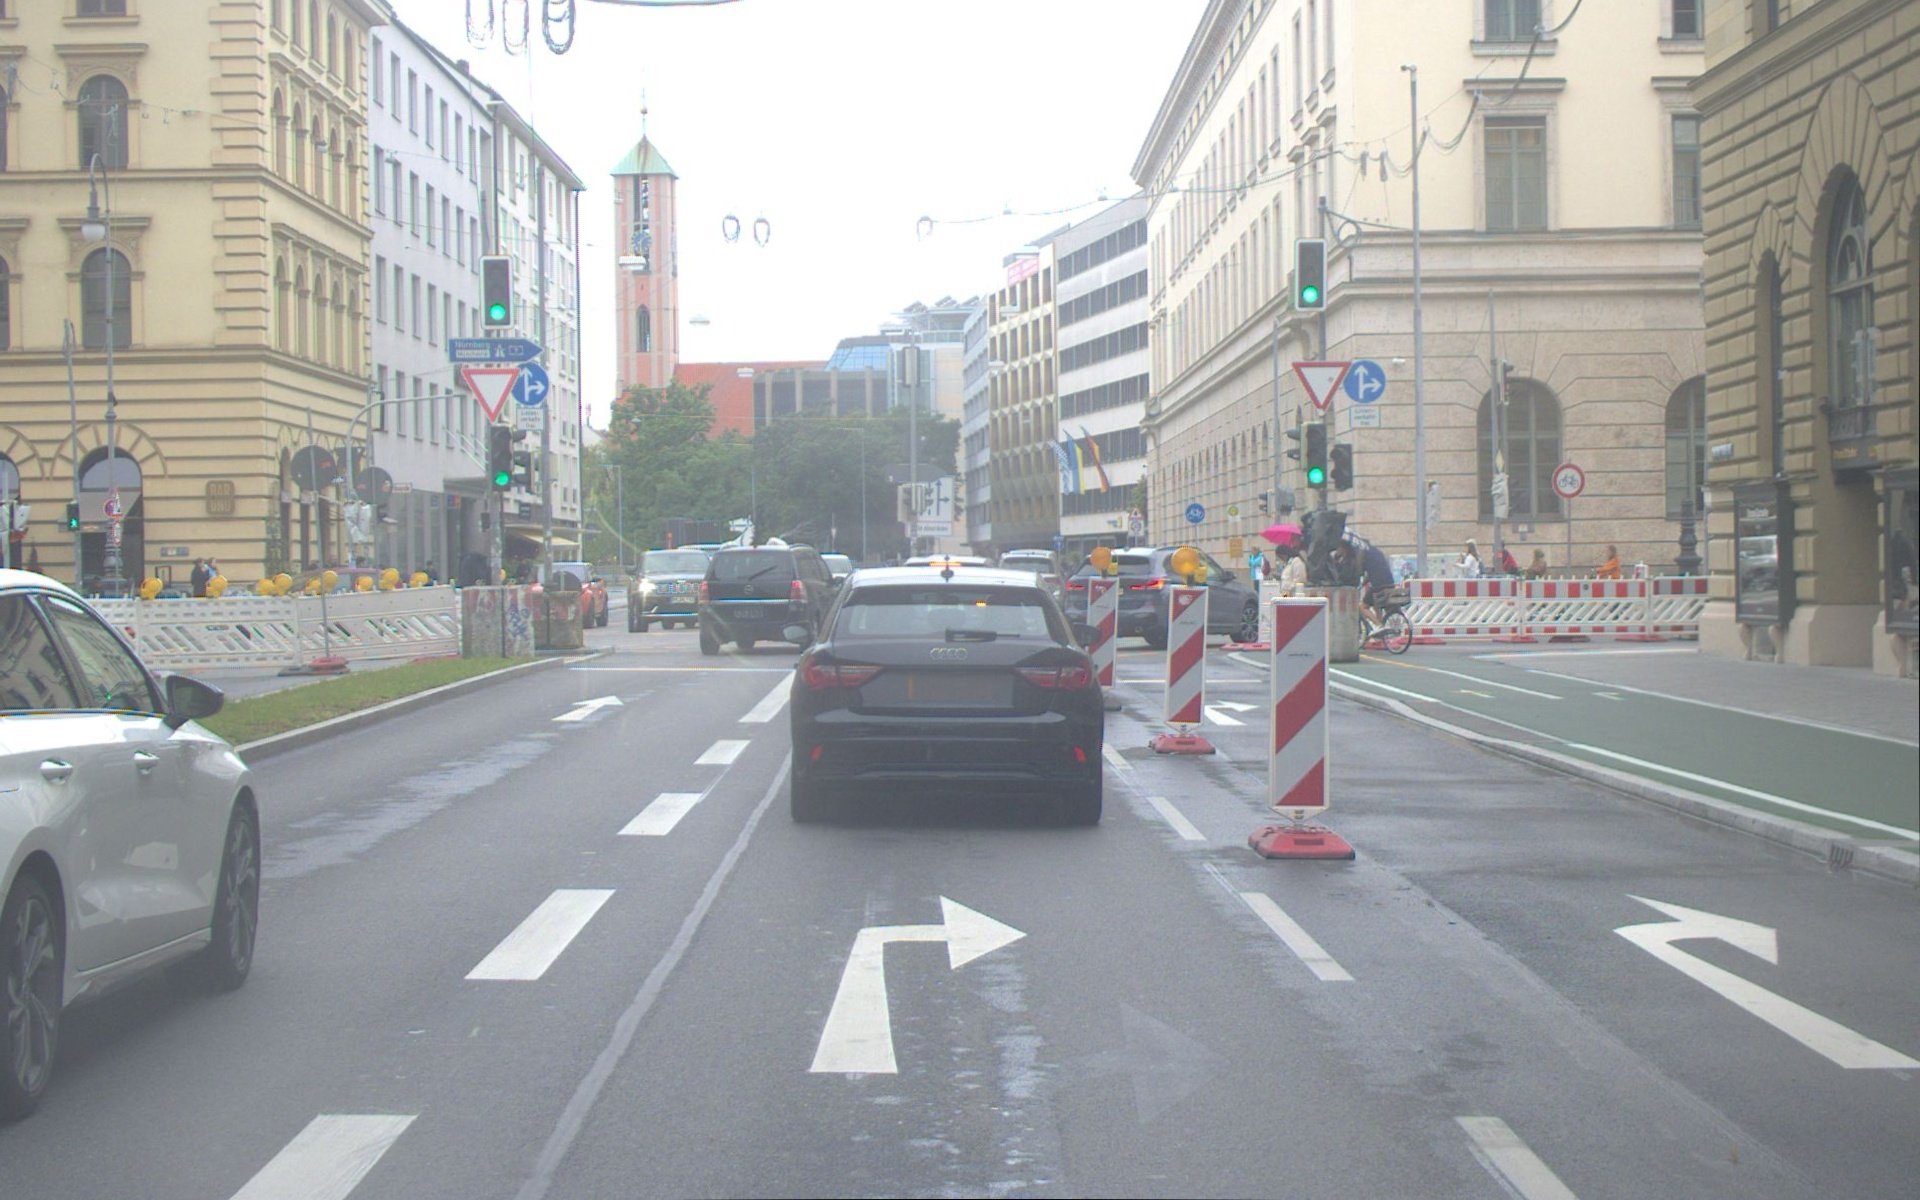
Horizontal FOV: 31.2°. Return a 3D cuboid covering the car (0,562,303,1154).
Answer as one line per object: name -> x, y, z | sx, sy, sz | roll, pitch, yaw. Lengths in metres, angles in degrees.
car -> -3.261, 0.612, 10.107 | 1.813, 1.420, 4.452 | 1, 1, 0

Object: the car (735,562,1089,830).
car -> -0.277, 0.486, 20.119 | 1.863, 1.383, 4.000 | 0, 1, -1

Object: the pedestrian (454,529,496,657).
pedestrian -> -6.653, -0.102, 47.136 | 0.512, 1.737, 1.043 | -1, 1, -10

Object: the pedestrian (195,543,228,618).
pedestrian -> -17.814, -0.462, 81.847 | 0.733, 1.766, 0.739 | 0, 1, -10

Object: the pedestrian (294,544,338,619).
pedestrian -> -15.371, -0.445, 82.072 | 0.734, 1.766, 0.760 | 1, 1, 21

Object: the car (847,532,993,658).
car -> -0.495, -0.098, 46.144 | 1.769, 1.611, 4.000 | 0, 1, 2

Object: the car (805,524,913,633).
car -> -1.928, -0.436, 66.360 | 1.993, 2.007, 4.000 | -1, 1, -1

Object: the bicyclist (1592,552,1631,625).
bicyclist -> 14.582, -0.264, 76.966 | 0.744, 1.609, 0.795 | 0, 1, 2

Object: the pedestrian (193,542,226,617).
pedestrian -> -17.697, -0.487, 81.111 | 0.733, 1.766, 0.739 | 0, 1, -10

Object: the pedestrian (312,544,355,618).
pedestrian -> -15.087, -0.454, 82.793 | 0.734, 1.766, 0.738 | 1, 1, 21

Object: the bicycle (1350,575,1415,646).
bicycle -> 6.189, 0.150, 50.428 | 0.584, 1.008, 1.657 | 0, 1, -6

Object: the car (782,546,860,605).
car -> -3.703, -0.665, 92.360 | 1.993, 1.519, 4.233 | -1, 1, -1

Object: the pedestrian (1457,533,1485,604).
pedestrian -> 12.100, -0.747, 81.389 | 0.616, 1.666, 0.542 | 1, 1, 7

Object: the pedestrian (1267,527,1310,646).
pedestrian -> 4.495, -0.189, 47.079 | 0.531, 1.614, 0.674 | 1, 1, 2

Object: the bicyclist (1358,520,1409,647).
bicyclist -> 6.203, -0.247, 50.347 | 0.566, 1.847, 0.799 | 0, 1, -6

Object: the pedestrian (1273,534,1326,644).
pedestrian -> 4.836, -0.158, 49.044 | 0.702, 1.562, 0.541 | 1, 1, 2

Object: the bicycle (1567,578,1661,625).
bicycle -> 14.629, 0.027, 76.969 | 1.958, 1.037, 0.795 | 0, 1, 2

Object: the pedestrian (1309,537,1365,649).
pedestrian -> 5.280, -0.104, 48.166 | 0.702, 1.562, 0.682 | 1, 1, 2

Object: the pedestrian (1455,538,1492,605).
pedestrian -> 12.038, -0.667, 80.610 | 0.817, 1.552, 0.667 | 1, 1, 7

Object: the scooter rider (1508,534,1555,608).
scooter rider -> 12.601, -0.633, 75.864 | 0.932, 1.617, 0.592 | 0, 1, 1

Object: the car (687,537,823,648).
car -> -3.064, -0.146, 51.999 | 1.865, 1.596, 3.851 | -1, 1, -1
